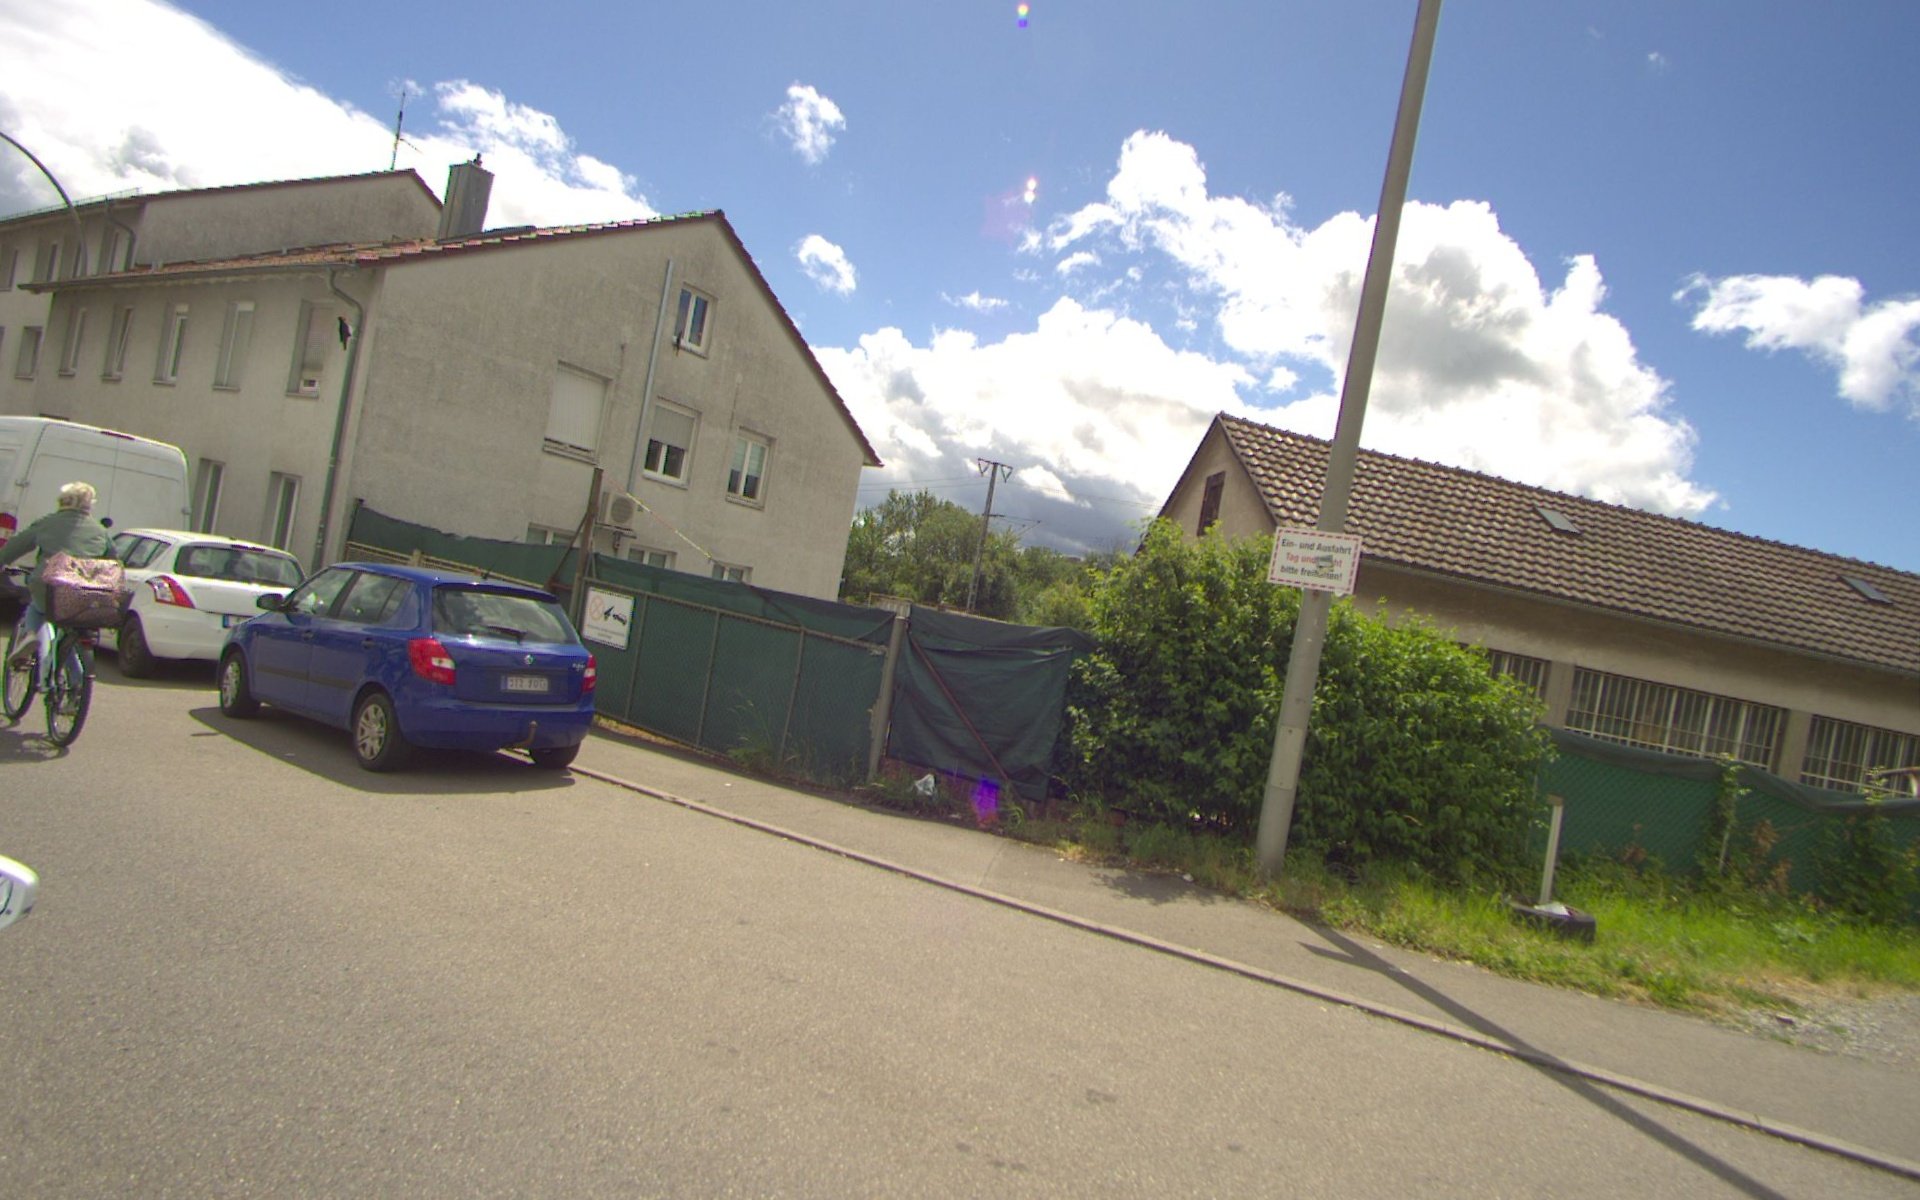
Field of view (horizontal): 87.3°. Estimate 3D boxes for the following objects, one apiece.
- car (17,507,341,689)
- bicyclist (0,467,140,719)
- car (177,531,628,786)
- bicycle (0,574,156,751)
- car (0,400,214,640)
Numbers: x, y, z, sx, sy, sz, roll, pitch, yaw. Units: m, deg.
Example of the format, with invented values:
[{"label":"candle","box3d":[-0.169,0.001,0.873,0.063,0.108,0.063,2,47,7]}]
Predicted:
[{"label":"car","box3d":[-8.820,-0.058,11.293,3.728,1.527,1.596,7,-2,33]},{"label":"bicyclist","box3d":[-6.469,-0.042,7.055,0.719,1.645,0.741,7,-2,31]},{"label":"car","box3d":[-4.871,0.408,8.610,4.028,1.527,1.569,6,-2,34]},{"label":"bicycle","box3d":[-6.480,0.393,7.021,1.703,0.986,0.741,8,-1,32]},{"label":"car","box3d":[-13.711,-1.238,14.564,7.164,2.671,2.037,7,-2,33]}]
